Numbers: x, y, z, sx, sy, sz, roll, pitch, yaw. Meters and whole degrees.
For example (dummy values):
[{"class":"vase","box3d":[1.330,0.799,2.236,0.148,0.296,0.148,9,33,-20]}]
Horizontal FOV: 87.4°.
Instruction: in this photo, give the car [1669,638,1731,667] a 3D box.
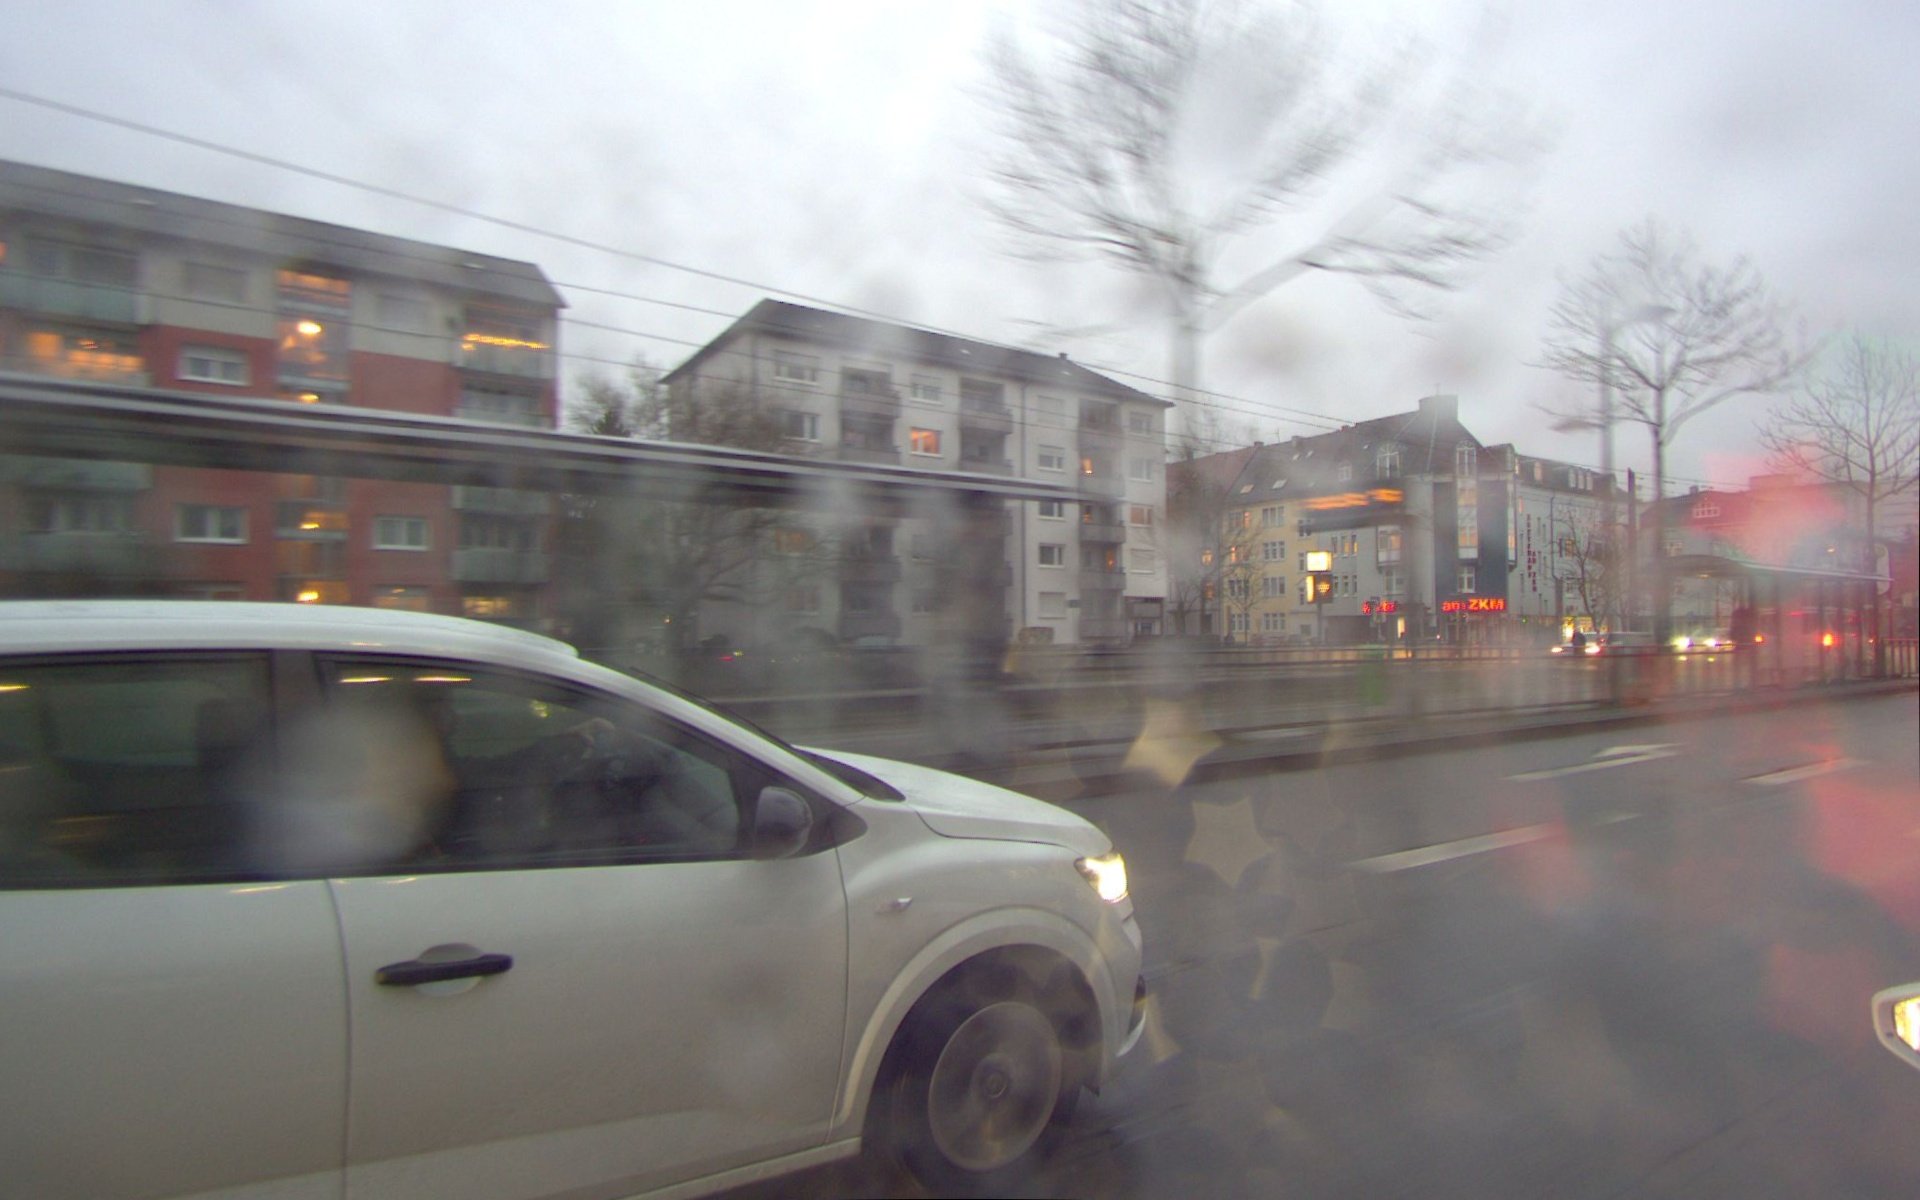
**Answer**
[{"class":"car","box3d":[44.462,3.149,60.360,3.294,1.634,1.673,2,-1,-27]}]

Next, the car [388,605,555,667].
[{"class":"car","box3d":[-13.971,1.045,28.811,4.106,1.667,1.715,2,-1,-33]}]

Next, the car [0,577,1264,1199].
[{"class":"car","box3d":[-1.243,0.739,2.702,3.953,1.485,1.700,2,-1,-30]}]

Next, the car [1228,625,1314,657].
[{"class":"car","box3d":[15.261,2.001,49.439,1.684,1.384,3.768,3,-1,-39]}]

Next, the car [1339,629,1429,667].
[{"class":"car","box3d":[18.048,2.049,42.716,3.719,1.517,1.749,3,-1,-33]}]

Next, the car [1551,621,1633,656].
[{"class":"car","box3d":[29.226,1.780,46.468,3.717,1.517,1.750,2,-1,-32]}]
